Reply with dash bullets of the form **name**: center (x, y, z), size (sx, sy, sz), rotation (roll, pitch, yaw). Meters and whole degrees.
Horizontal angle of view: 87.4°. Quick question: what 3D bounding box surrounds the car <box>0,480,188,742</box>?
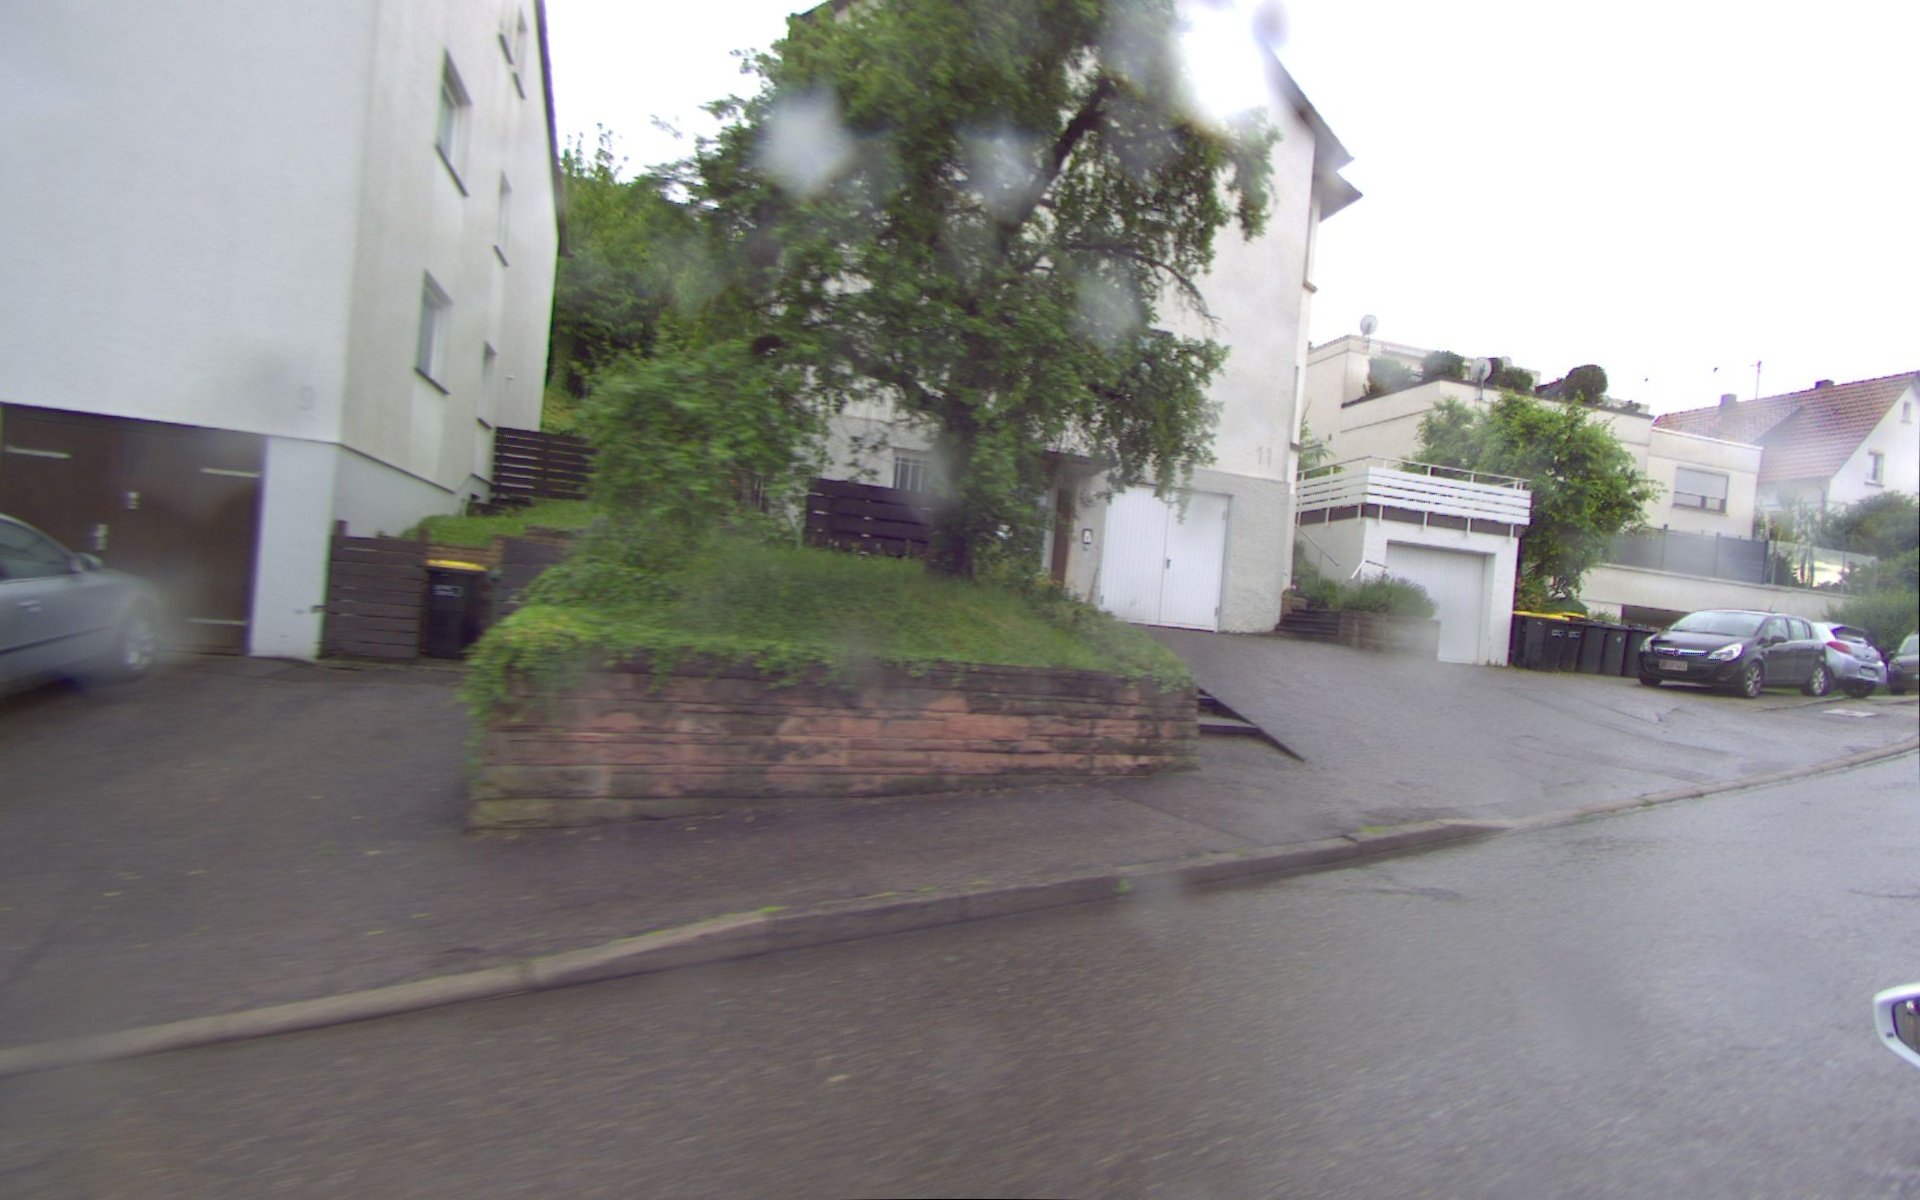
- **car**: center (-6.981, 0.087, 6.410), size (1.737, 1.451, 4.250), rotation (3, 8, -16)

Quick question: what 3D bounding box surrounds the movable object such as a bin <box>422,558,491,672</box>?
- **movable object such as a bin**: center (-5.719, 0.168, 11.434), size (0.562, 1.245, 0.685), rotation (1, 0, -17)

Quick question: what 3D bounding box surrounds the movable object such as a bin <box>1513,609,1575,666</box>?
- **movable object such as a bin**: center (11.122, 0.709, 19.131), size (0.690, 1.071, 0.749), rotation (2, -1, -20)

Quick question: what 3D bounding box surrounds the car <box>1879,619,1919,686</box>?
- **car**: center (25.170, 1.357, 25.604), size (4.376, 1.618, 1.790), rotation (2, -1, -37)

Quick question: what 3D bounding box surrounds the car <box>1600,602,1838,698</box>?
- **car**: center (13.425, 0.870, 17.726), size (4.197, 1.395, 1.757), rotation (2, 3, -30)

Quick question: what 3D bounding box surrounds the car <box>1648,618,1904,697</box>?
- **car**: center (17.246, 1.303, 21.473), size (1.777, 1.496, 3.823), rotation (2, -6, -21)

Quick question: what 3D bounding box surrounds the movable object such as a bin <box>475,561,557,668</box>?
- **movable object such as a bin**: center (-5.128, 0.168, 11.648), size (0.670, 1.186, 0.797), rotation (1, 0, -10)
